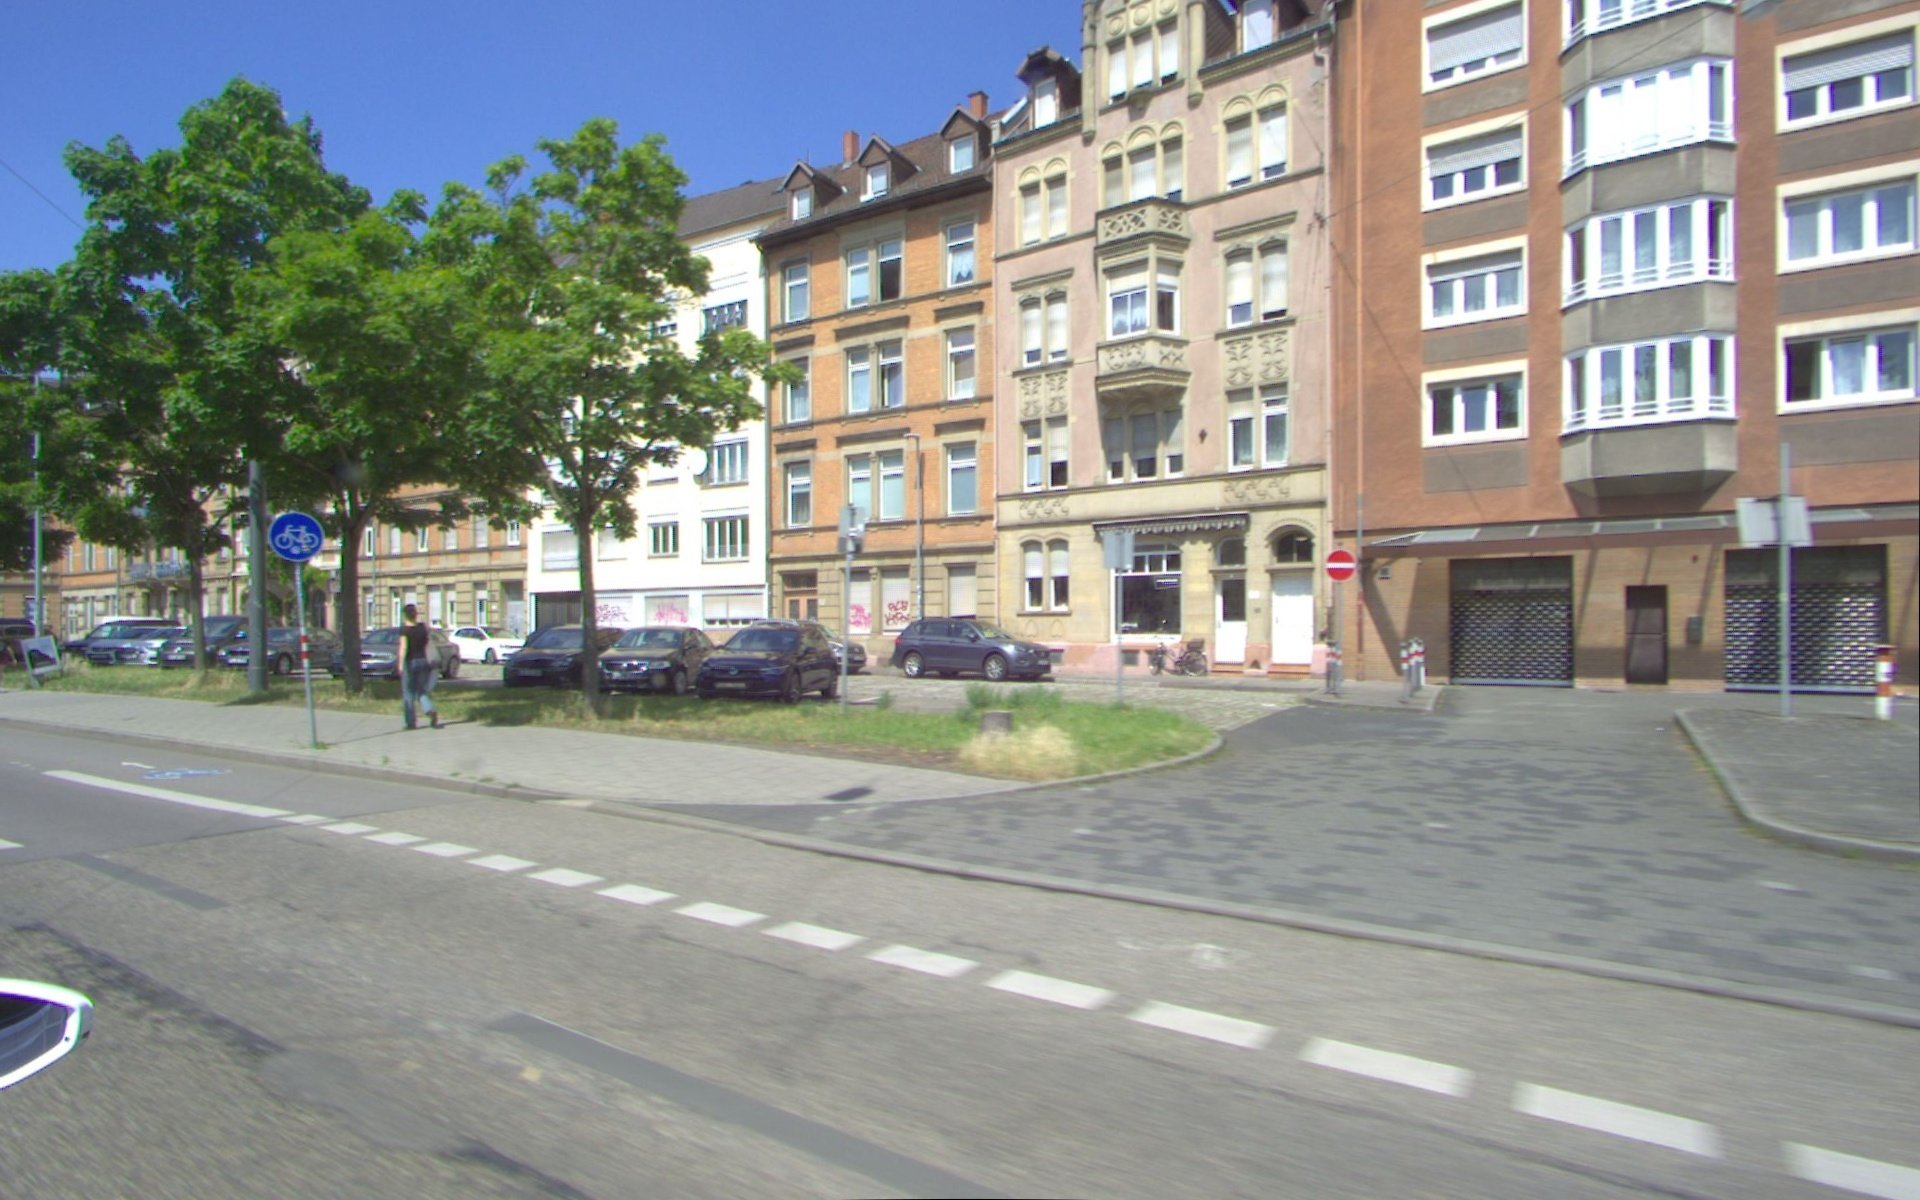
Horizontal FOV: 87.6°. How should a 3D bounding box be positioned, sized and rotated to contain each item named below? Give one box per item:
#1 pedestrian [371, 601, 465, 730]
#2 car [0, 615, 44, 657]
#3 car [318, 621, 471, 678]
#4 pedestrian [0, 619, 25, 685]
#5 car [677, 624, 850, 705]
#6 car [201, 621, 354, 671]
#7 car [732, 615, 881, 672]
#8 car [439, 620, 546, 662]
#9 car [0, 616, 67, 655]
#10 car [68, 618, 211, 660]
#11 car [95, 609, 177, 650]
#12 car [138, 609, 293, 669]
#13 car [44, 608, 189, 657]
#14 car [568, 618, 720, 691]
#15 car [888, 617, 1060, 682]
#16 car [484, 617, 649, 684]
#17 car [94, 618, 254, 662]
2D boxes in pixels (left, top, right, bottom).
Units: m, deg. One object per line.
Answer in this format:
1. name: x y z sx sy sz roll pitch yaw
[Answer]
1. pedestrian: -7.672 0.899 14.182 1.030 1.727 0.698 0 2 32
2. car: -44.963 1.645 45.733 1.879 1.951 4.633 0 -3 2
3. car: -14.940 1.332 26.743 1.816 1.397 4.272 0 -3 -3
4. pedestrian: -23.715 1.278 24.717 0.892 1.612 0.699 -1 -2 32
5. car: -3.606 1.200 19.160 1.924 1.371 4.001 0 -3 10
6. car: -20.298 1.383 30.042 1.816 1.397 4.272 0 -3 -3
7. car: -4.700 1.328 30.518 4.433 1.635 1.829 -2 -3 33
8. car: -17.993 1.590 38.466 4.168 1.510 1.829 -2 -3 33
9. car: -42.377 1.572 44.224 1.879 1.677 4.177 0 -3 6
10. car: -29.303 1.413 35.942 1.816 1.423 4.088 0 -3 -2
11. car: -47.110 1.730 57.216 5.319 2.206 2.107 -2 -3 33
12. car: -23.582 1.263 31.950 1.816 1.762 4.369 0 -3 -3
13. car: -31.693 1.254 37.809 1.816 1.762 4.153 0 -3 2
14. car: -6.526 1.147 21.173 1.923 1.397 4.003 0 -3 0
15. car: 0.325 1.332 27.135 4.437 1.635 1.827 -2 -3 36
16. car: -8.869 1.150 22.958 1.923 1.397 4.003 0 -3 5
17. car: -26.639 1.398 34.195 1.816 1.397 4.697 0 -3 -1
